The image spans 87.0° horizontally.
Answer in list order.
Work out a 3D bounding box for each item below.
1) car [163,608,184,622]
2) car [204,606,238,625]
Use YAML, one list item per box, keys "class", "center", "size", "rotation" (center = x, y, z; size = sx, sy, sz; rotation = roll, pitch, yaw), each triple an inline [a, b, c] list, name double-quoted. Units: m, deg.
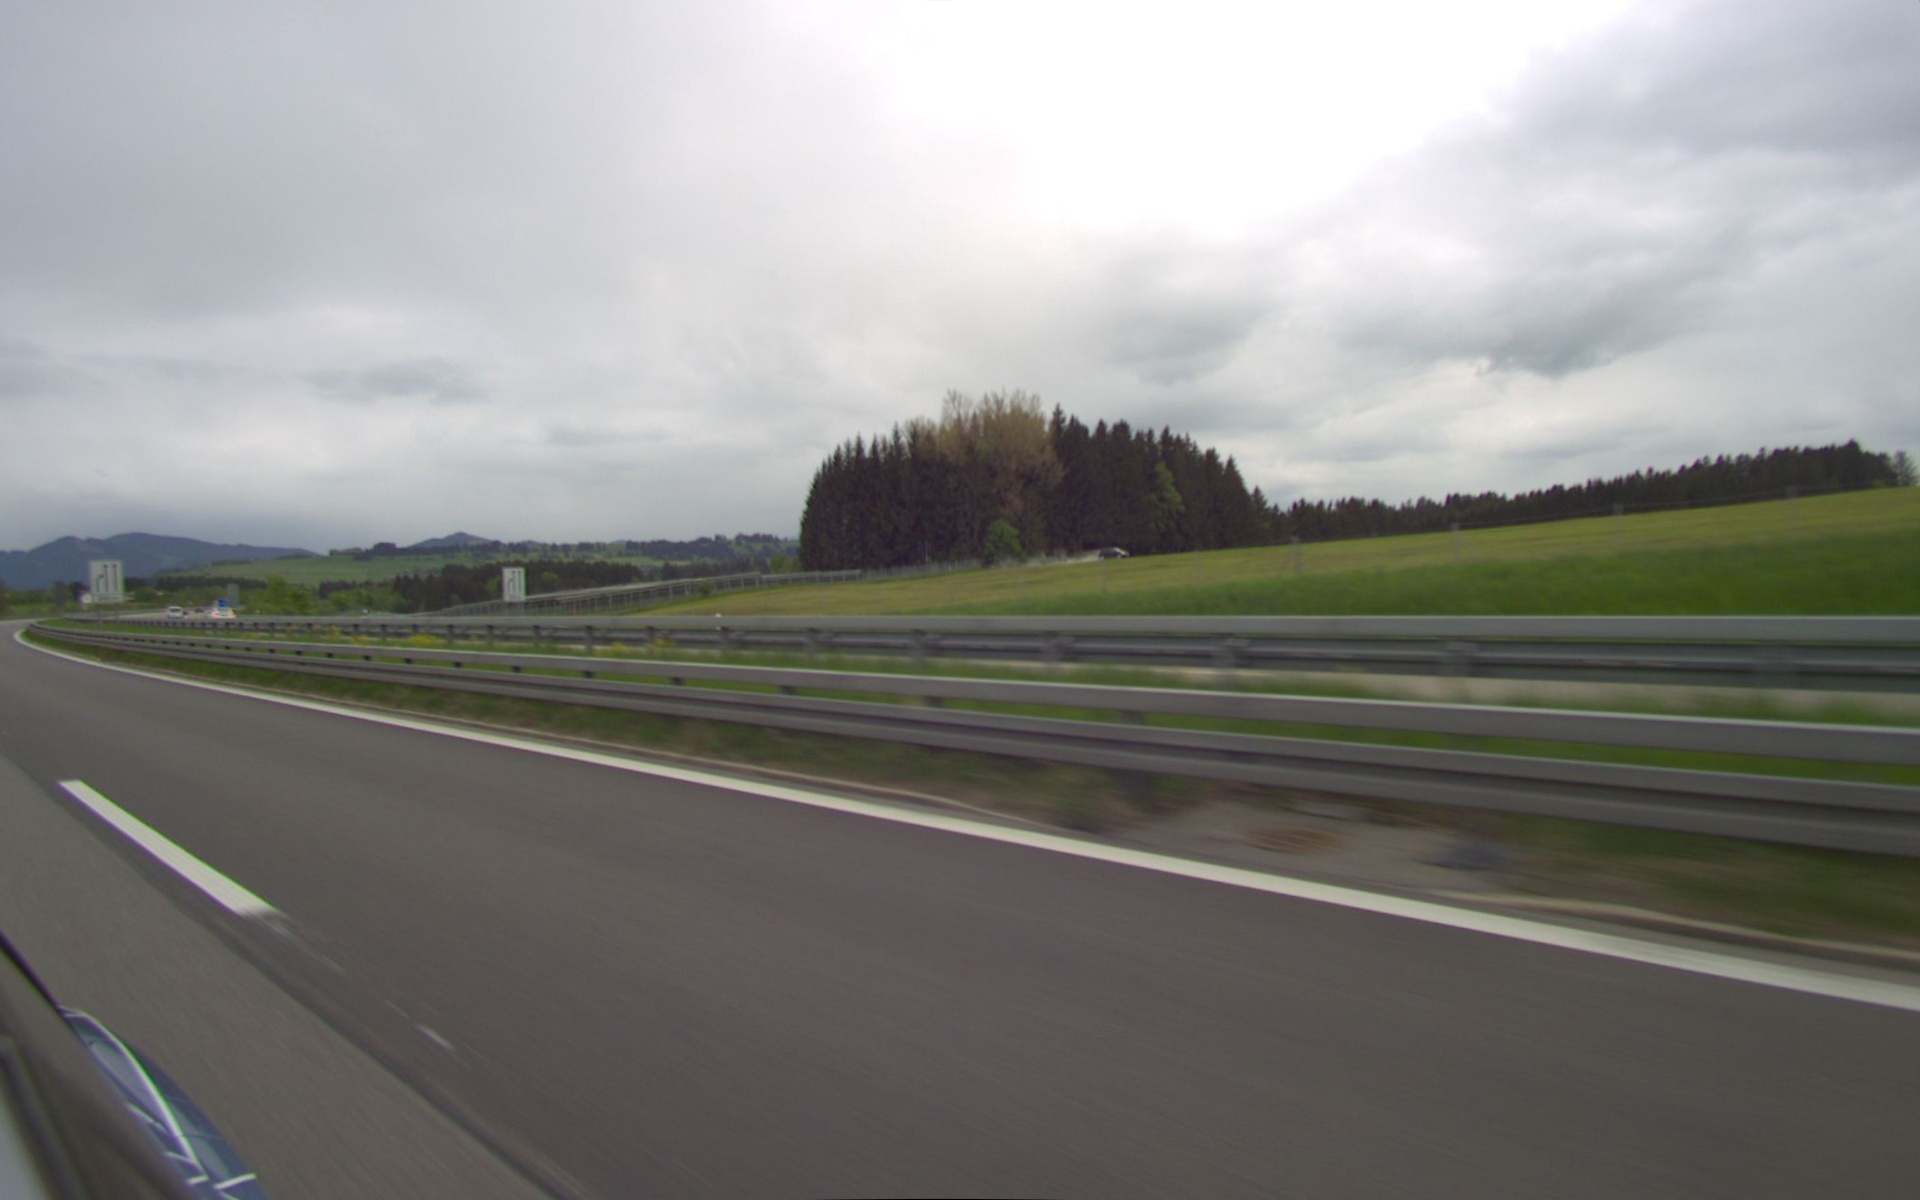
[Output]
- class: "car"
  center: [-108.049, 2.044, 139.078]
  size: [1.969, 1.699, 4.633]
  rotation: [-4, 2, -41]
- class: "car"
  center: [-71.601, 1.504, 98.012]
  size: [2.011, 1.703, 5.061]
  rotation: [-4, 2, -42]
